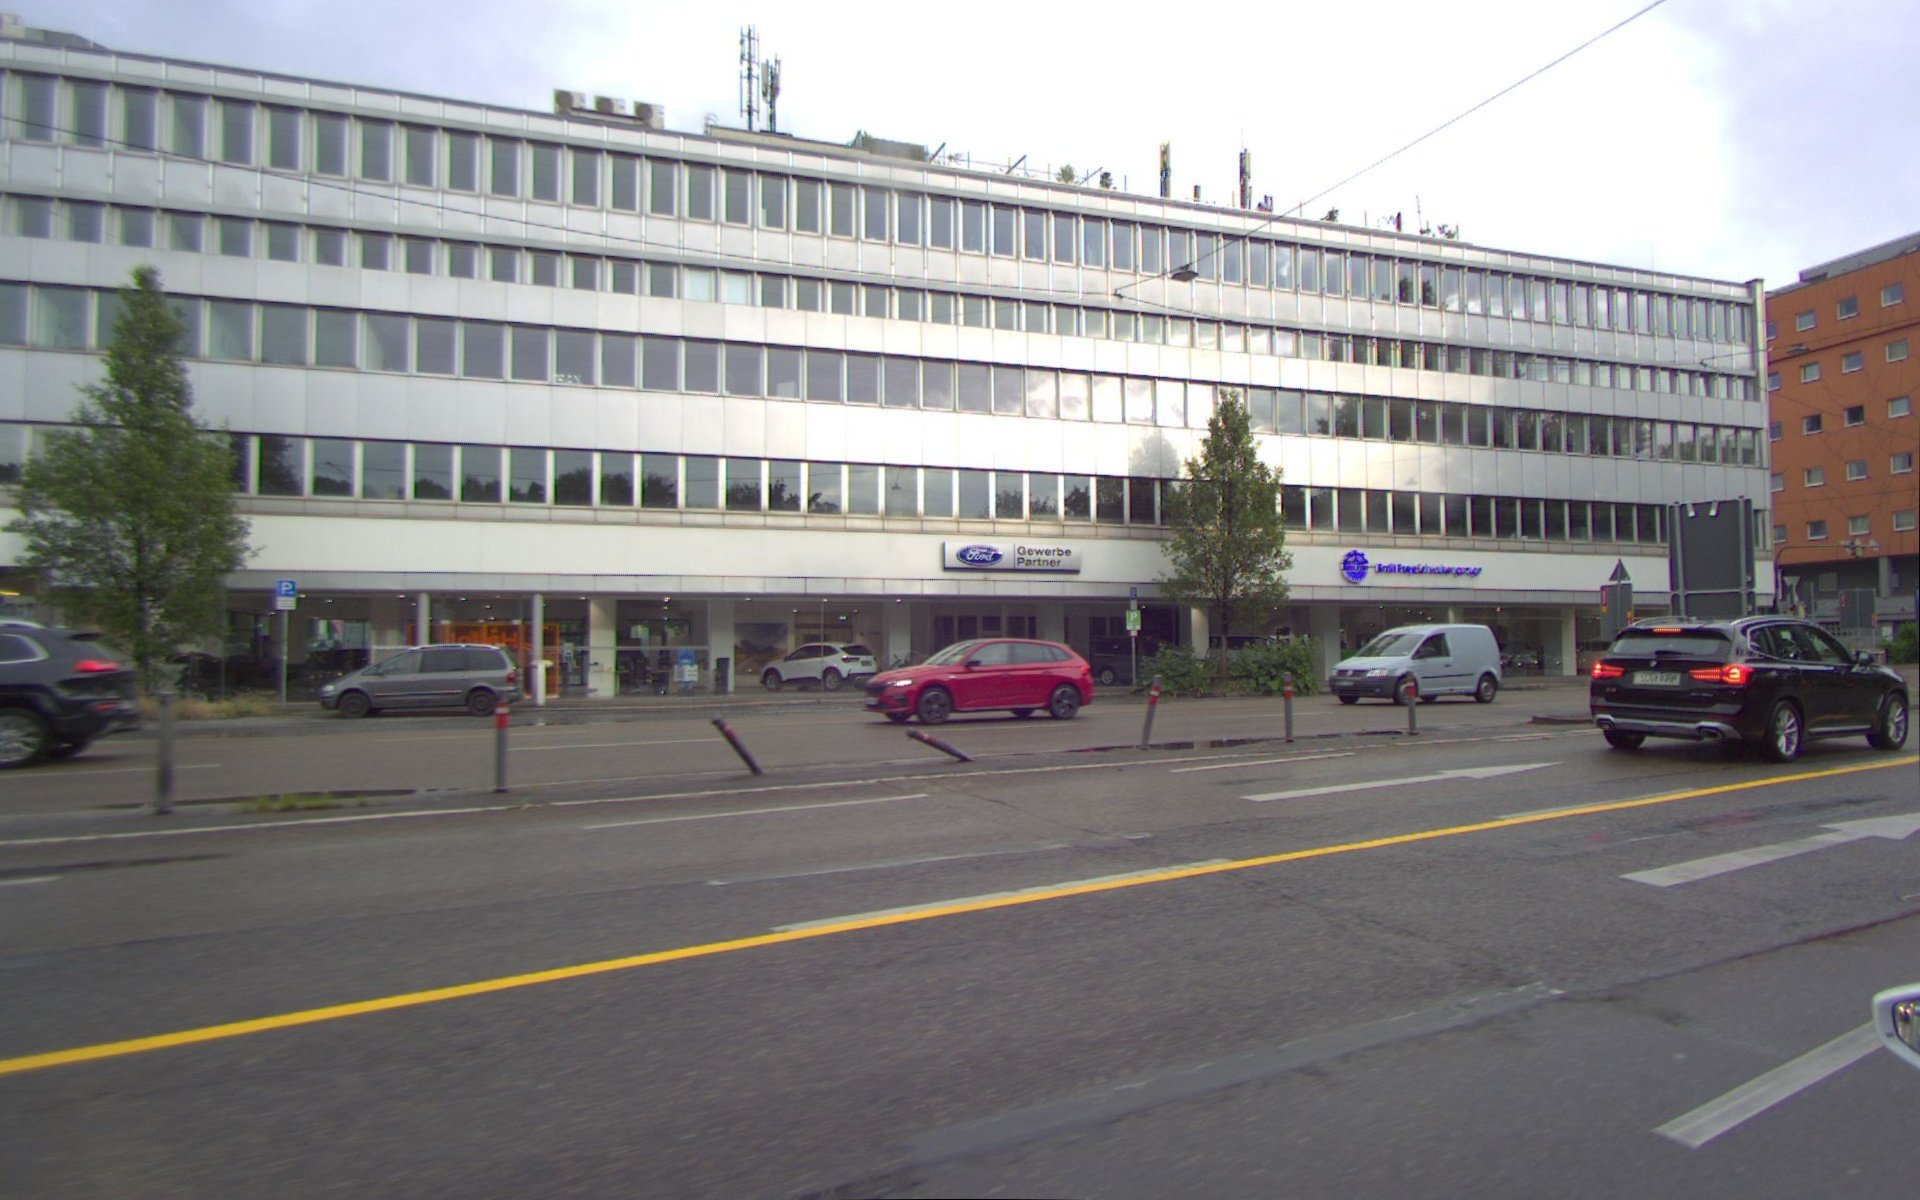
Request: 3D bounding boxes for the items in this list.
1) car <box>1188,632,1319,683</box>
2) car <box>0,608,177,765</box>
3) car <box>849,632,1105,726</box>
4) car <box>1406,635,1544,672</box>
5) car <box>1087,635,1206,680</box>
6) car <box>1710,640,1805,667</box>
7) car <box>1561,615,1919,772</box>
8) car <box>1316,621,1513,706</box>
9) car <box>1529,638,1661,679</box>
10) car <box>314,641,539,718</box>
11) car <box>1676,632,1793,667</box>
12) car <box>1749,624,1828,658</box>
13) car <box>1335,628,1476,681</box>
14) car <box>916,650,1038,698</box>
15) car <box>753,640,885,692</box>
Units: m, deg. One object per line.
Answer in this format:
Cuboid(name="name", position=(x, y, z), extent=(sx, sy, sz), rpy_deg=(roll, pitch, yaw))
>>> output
Cuboid(name="car", position=(11.941, 2.380, 40.834), extent=(4.892, 1.921, 2.000), rpy_deg=(-3, -4, 22))
Cuboid(name="car", position=(-12.107, 0.997, 11.583), extent=(4.547, 1.760, 1.838), rpy_deg=(1, -4, -29))
Cuboid(name="car", position=(0.328, 1.400, 18.205), extent=(4.317, 1.521, 1.823), rpy_deg=(1, -5, -28))
Cuboid(name="car", position=(23.050, 2.439, 45.179), extent=(1.984, 1.540, 5.148), rpy_deg=(2, -5, -39))
Cuboid(name="car", position=(7.035, 2.210, 37.948), extent=(3.937, 1.594, 1.993), rpy_deg=(-4, -5, 36))
Cuboid(name="car", position=(46.352, 3.135, 58.498), extent=(1.560, 1.464, 4.134), rpy_deg=(0, -4, -18))
Cuboid(name="car", position=(9.855, 1.019, 12.562), extent=(4.611, 1.619, 1.940), rpy_deg=(0, -1, -28))
Cuboid(name="car", position=(10.400, 1.447, 22.979), extent=(4.243, 1.809, 1.730), rpy_deg=(1, -4, -25))
Cuboid(name="car", position=(29.155, 2.733, 46.258), extent=(1.980, 1.761, 4.730), rpy_deg=(2, -5, -34))
Cuboid(name="car", position=(-13.218, 1.966, 25.231), extent=(4.653, 1.802, 1.849), rpy_deg=(0, -4, -17))
Cuboid(name="car", position=(44.469, 2.900, 57.833), extent=(1.967, 1.869, 5.078), rpy_deg=(1, -5, -16))
Cuboid(name="car", position=(54.001, 2.670, 65.465), extent=(4.783, 2.041, 1.988), rpy_deg=(1, 1, -24))
Cuboid(name="car", position=(18.435, 2.298, 41.637), extent=(5.114, 2.037, 1.997), rpy_deg=(-3, -5, 30))
Cuboid(name="car", position=(0.559, 2.591, 35.226), extent=(3.931, 1.594, 1.996), rpy_deg=(0, -4, -13))
Cuboid(name="car", position=(-4.905, 2.315, 34.869), extent=(4.307, 1.673, 1.852), rpy_deg=(-3, -5, 29))
